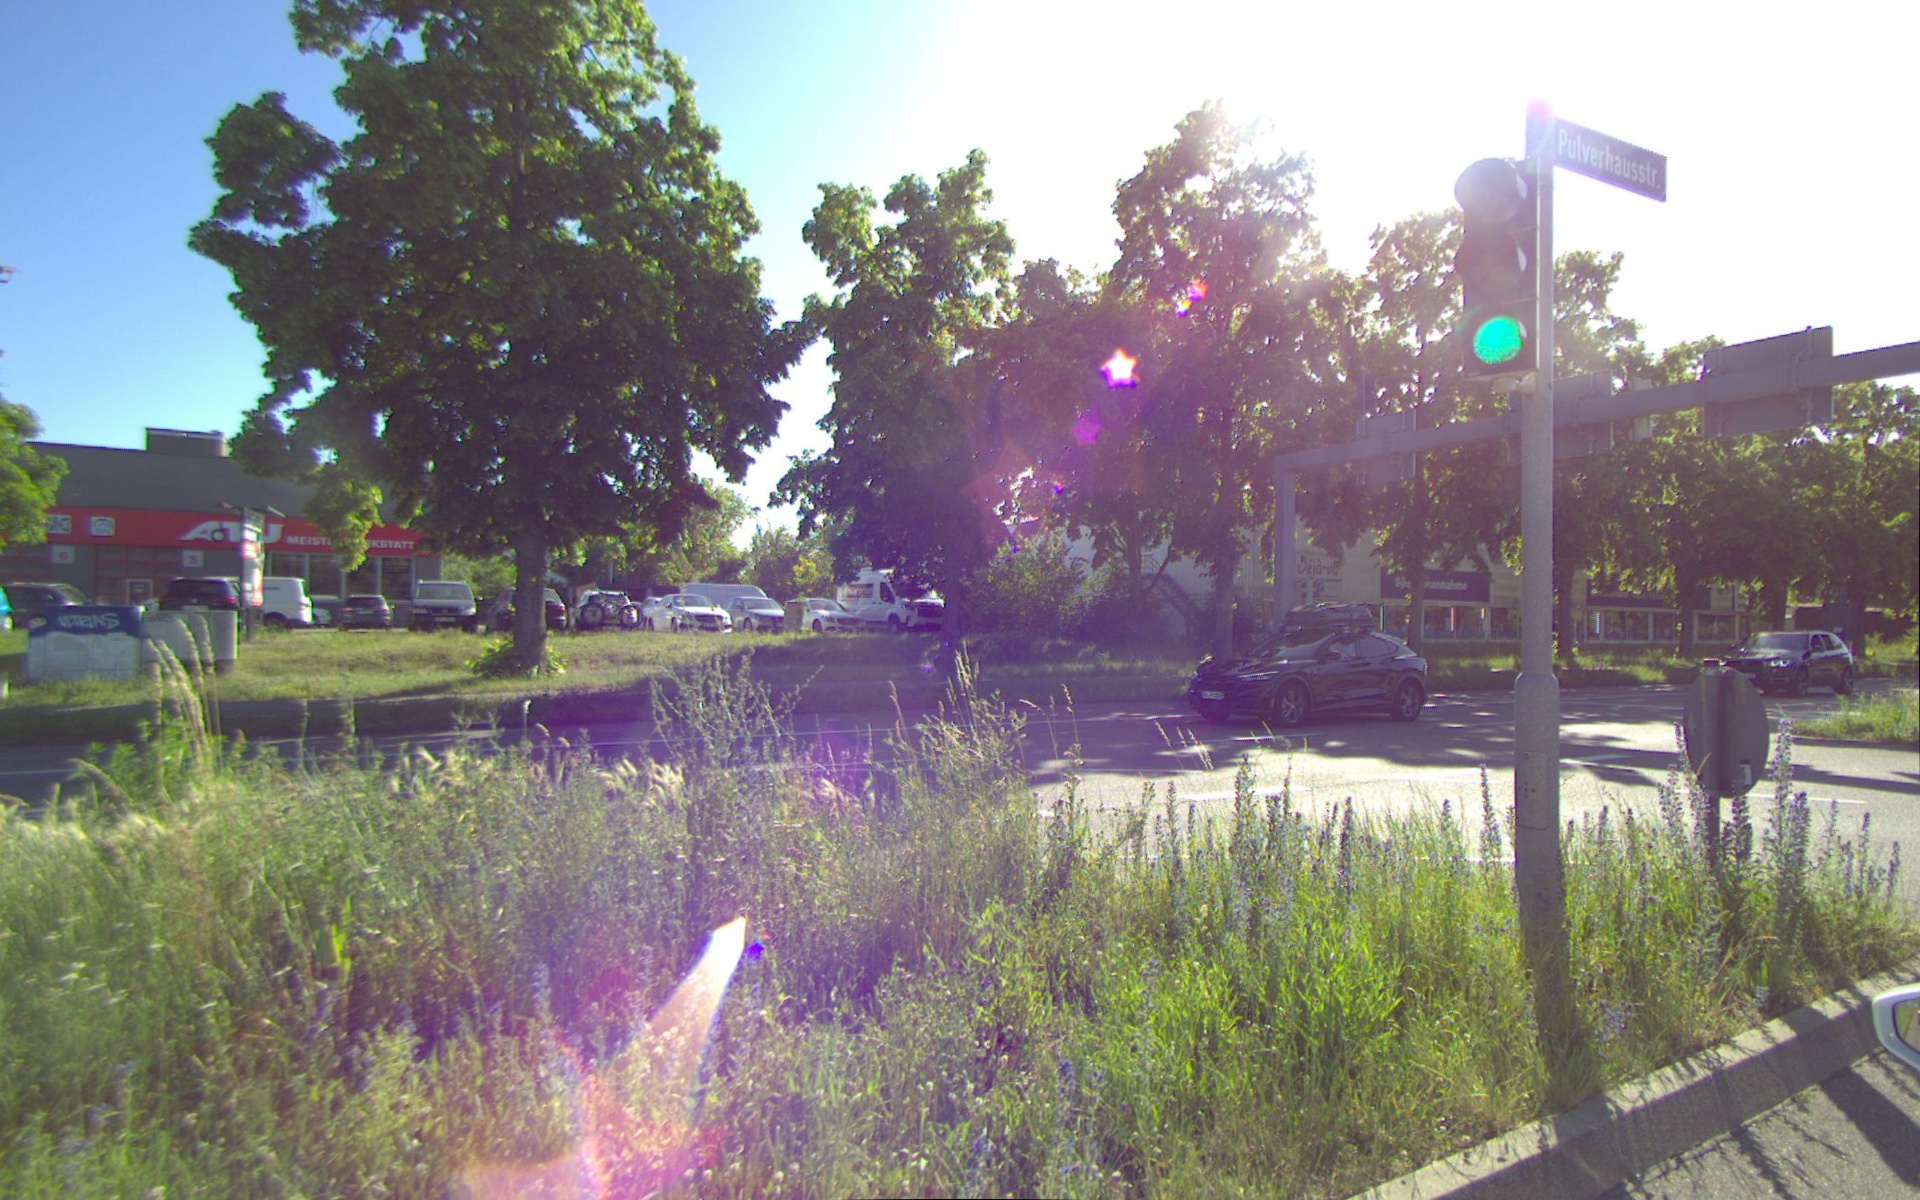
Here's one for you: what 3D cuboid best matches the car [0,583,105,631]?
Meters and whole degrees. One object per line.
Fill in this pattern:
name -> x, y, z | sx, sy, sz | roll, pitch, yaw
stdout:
car -> -29.584, 0.225, 31.457 | 3.936, 1.474, 1.772 | 1, -1, -29

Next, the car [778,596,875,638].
car -> -4.879, 0.625, 36.367 | 1.926, 1.407, 4.094 | 1, -2, -33

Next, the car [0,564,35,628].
car -> -24.414, -0.107, 24.298 | 1.794, 1.572, 4.106 | 1, -1, -25

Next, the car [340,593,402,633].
car -> -23.349, 0.528, 39.944 | 1.872, 1.474, 4.102 | 1, -2, -27

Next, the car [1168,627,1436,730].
car -> 5.923, 1.295, 17.274 | 4.519, 1.563, 1.867 | 2, -3, -30

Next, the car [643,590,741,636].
car -> -8.894, 0.451, 33.106 | 1.926, 1.407, 4.094 | 1, -2, -33

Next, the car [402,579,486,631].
car -> -15.164, 0.186, 29.404 | 1.924, 1.407, 4.097 | 1, -2, -31

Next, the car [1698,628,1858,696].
car -> 22.388, 1.640, 27.451 | 4.576, 1.719, 1.933 | 1, -3, -31

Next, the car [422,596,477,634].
car -> -20.819, 0.627, 40.947 | 1.872, 1.474, 4.102 | 1, -2, -27

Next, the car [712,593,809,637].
car -> -6.977, 0.536, 34.838 | 1.926, 1.407, 4.094 | 1, -2, -33

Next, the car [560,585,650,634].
car -> -11.262, 0.340, 31.705 | 1.923, 1.407, 4.599 | 1, -2, -29

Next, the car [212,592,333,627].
car -> -30.501, 0.445, 44.699 | 4.235, 1.474, 1.881 | 1, -2, -29

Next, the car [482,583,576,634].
car -> -12.985, 0.271, 30.158 | 1.926, 1.407, 4.094 | 1, -2, -33

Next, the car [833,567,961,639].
car -> -2.458, 0.171, 37.319 | 2.183, 2.465, 5.843 | 1, -2, -33

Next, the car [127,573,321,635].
car -> -24.935, 0.176, 34.293 | 5.063, 1.982, 1.773 | 1, -1, -27

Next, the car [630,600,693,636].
car -> -13.049, 0.798, 43.787 | 1.872, 1.474, 4.102 | 1, -2, -27

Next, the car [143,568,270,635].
car -> -19.423, 0.086, 26.100 | 1.922, 1.572, 4.103 | 1, -2, -27
